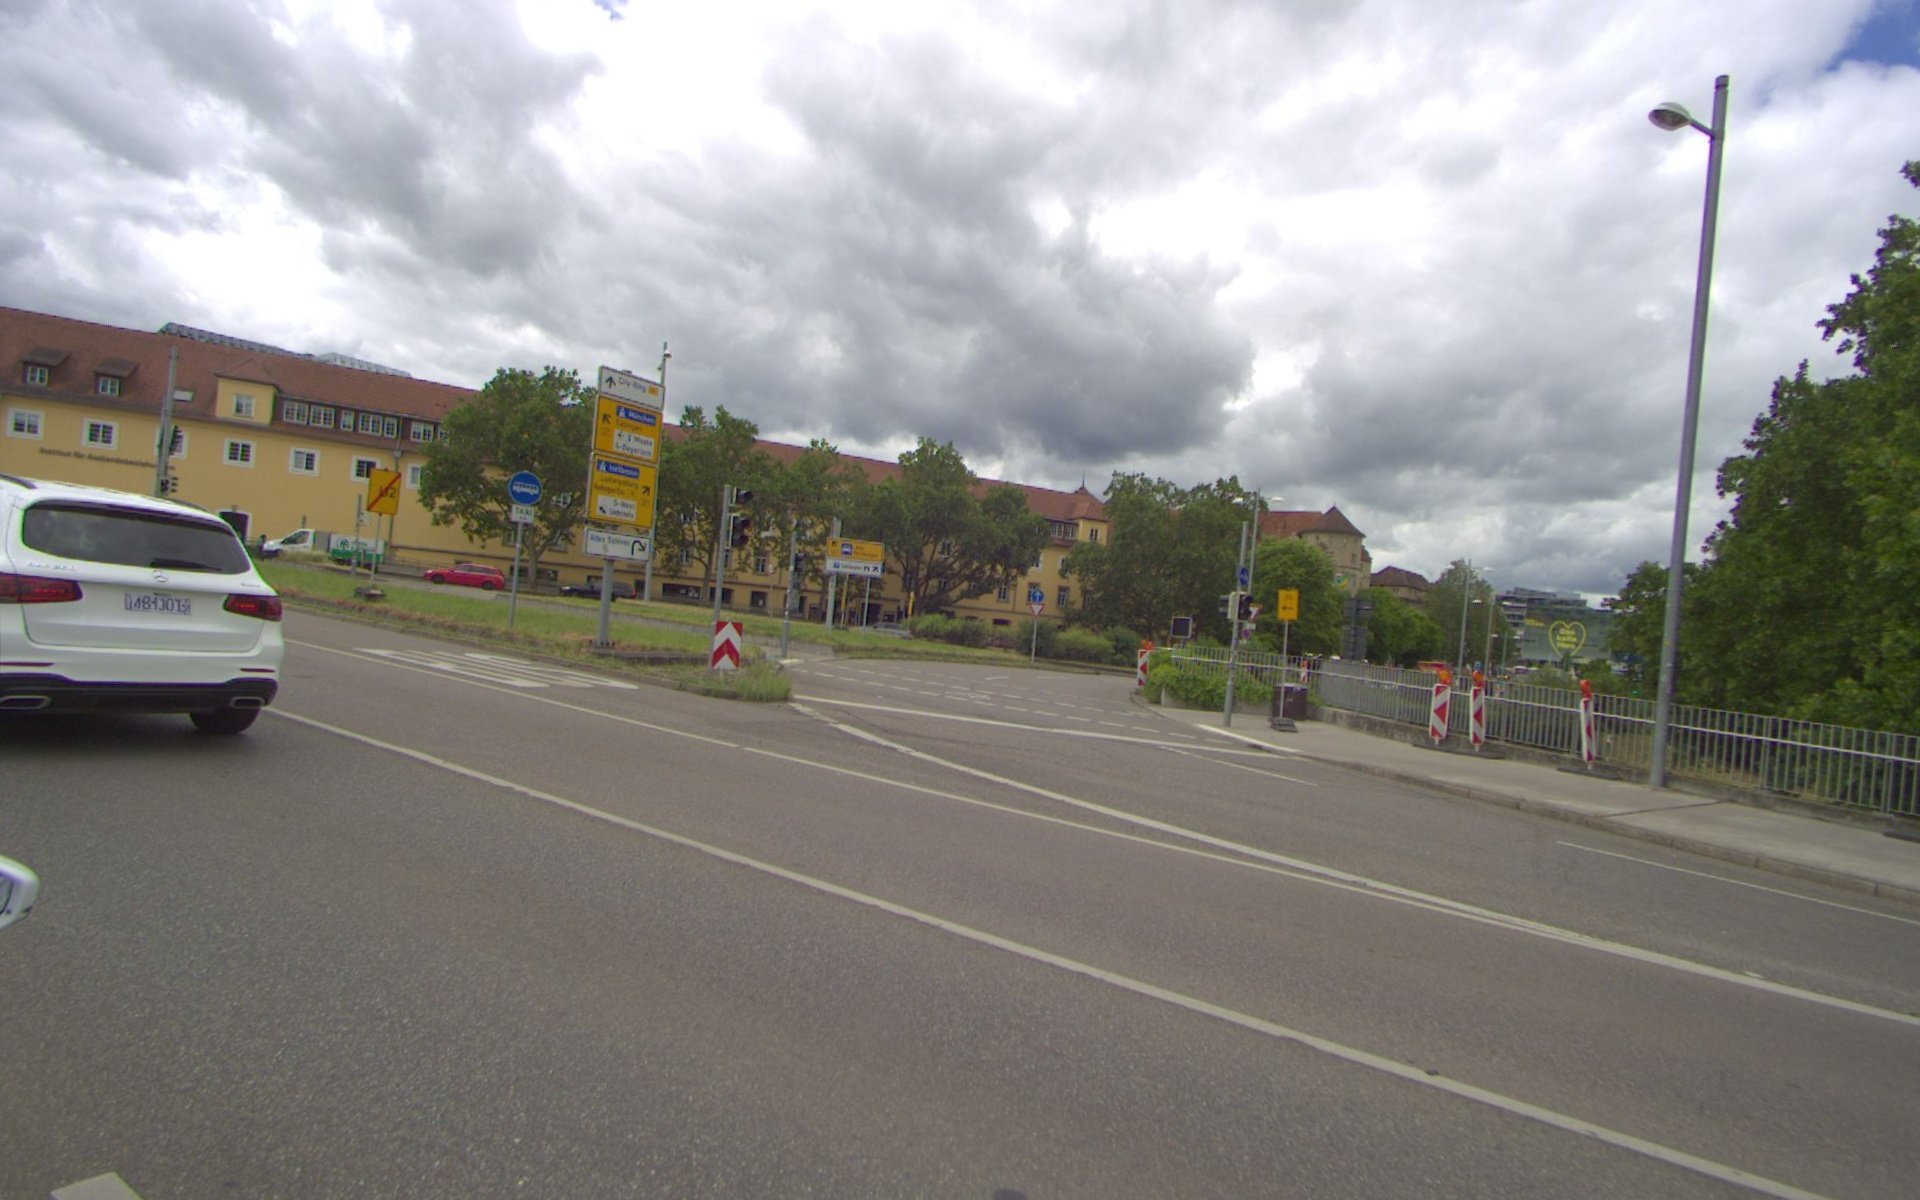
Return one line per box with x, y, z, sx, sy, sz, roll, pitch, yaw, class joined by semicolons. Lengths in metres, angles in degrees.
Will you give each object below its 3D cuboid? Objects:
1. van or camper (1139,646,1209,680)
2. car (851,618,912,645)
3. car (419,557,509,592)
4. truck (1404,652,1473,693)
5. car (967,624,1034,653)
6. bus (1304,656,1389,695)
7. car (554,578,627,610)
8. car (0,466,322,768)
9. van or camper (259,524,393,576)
15.736;4.655;73.931;5.096;1.914;1.647;8;-1;-29;van or camper
-5.809;2.334;74.185;4.041;1.430;1.648;8;-1;-27;car
-29.400;-1.513;59.723;4.637;1.437;1.586;8;-1;-27;car
49.592;7.552;104.117;7.565;3.409;2.787;8;-1;-35;truck
2.798;2.671;69.402;4.197;1.437;1.648;8;-1;-27;car
39.072;7.644;101.482;9.571;2.885;2.549;8;-1;-32;bus
-23.139;-0.371;63.001;4.041;1.430;1.648;8;-1;-27;car
-6.766;-0.060;7.243;4.305;1.667;1.822;7;-1;31;car
-35.659;-2.780;56.794;5.946;2.038;2.009;7;-1;-23;van or camper
